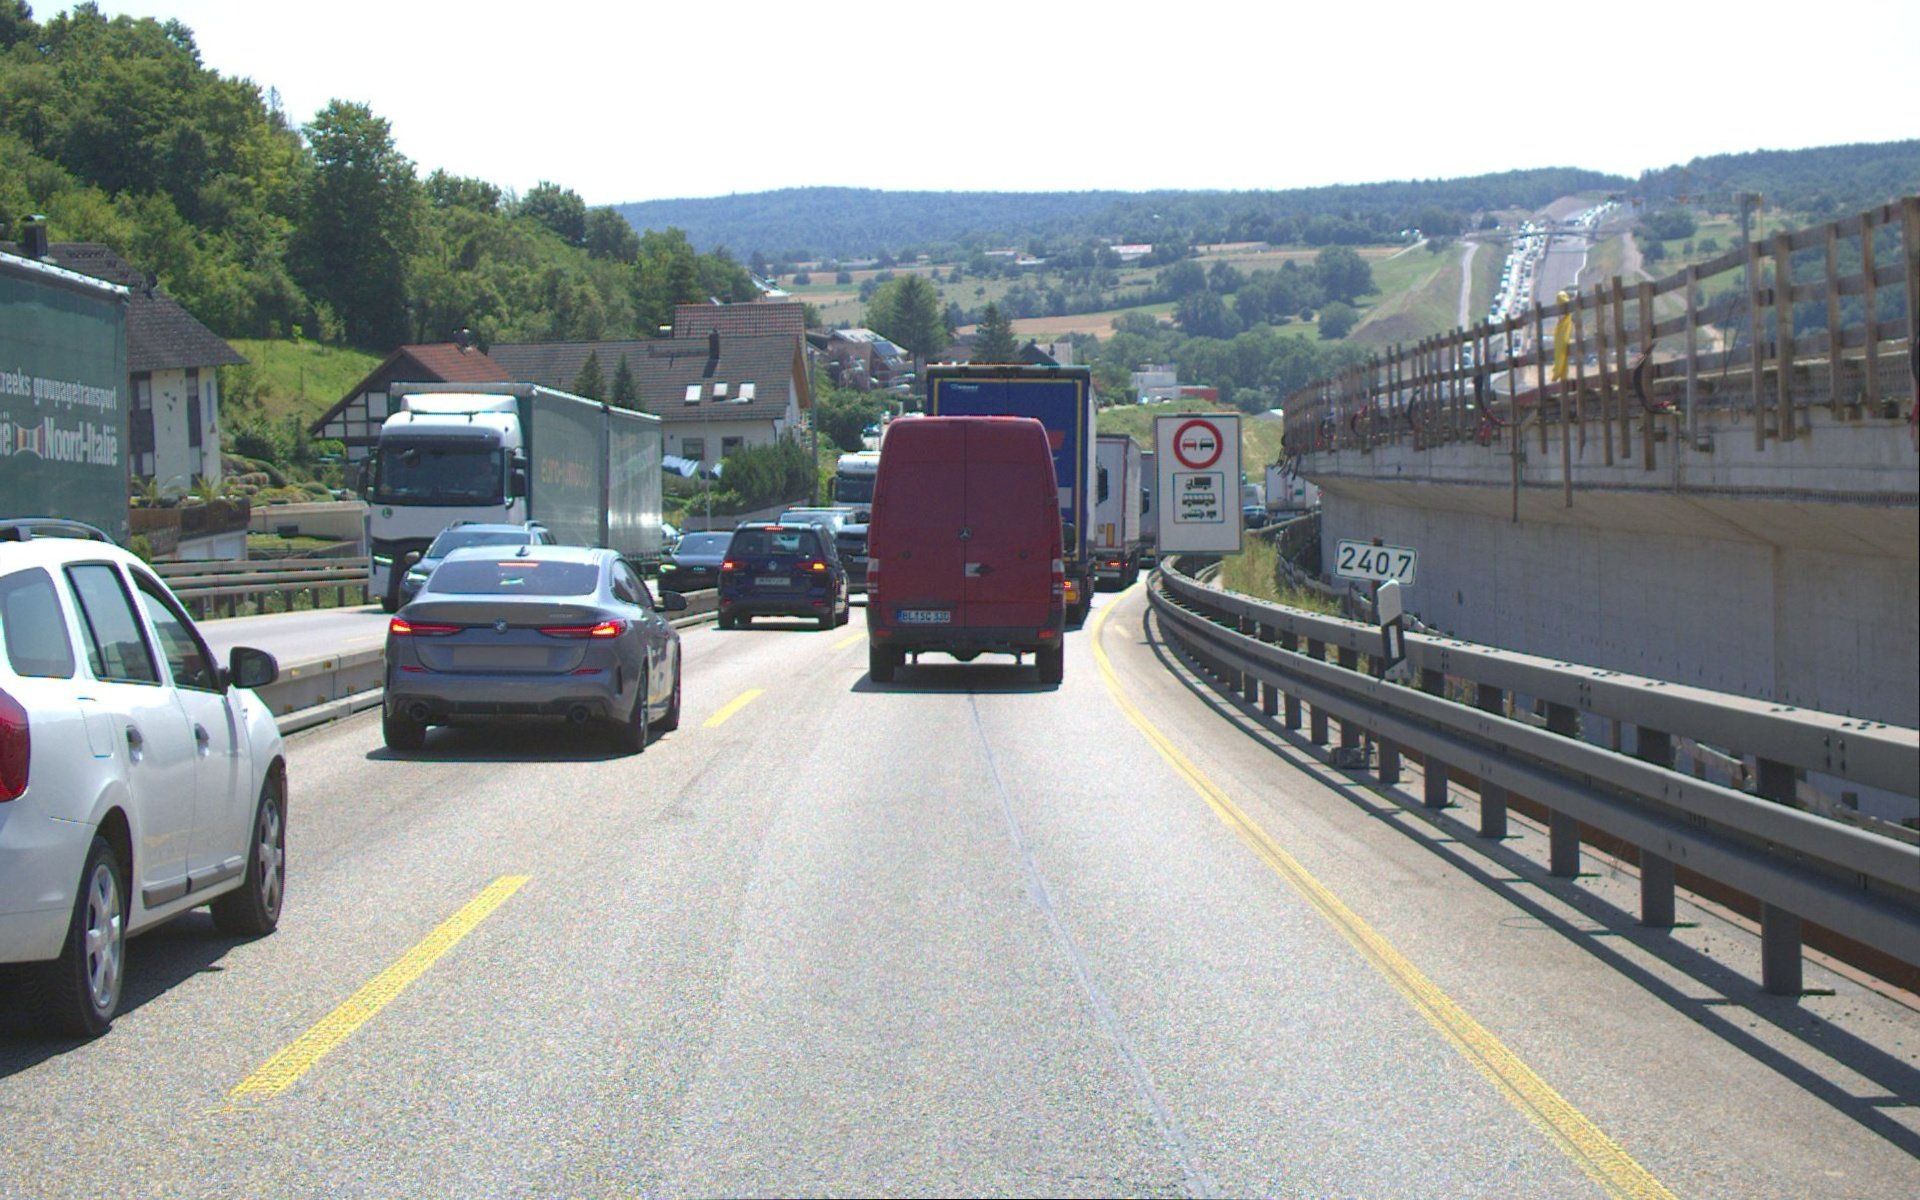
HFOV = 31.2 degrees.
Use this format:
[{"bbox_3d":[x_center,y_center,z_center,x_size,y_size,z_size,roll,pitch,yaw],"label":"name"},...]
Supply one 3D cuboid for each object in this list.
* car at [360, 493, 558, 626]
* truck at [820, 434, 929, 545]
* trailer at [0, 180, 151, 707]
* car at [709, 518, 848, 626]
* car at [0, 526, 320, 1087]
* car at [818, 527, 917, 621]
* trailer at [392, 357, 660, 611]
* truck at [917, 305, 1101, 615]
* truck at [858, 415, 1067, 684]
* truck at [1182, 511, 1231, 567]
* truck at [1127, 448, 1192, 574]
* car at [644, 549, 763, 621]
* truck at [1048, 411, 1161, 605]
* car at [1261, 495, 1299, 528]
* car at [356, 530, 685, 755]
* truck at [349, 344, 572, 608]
[{"bbox_3d":[-6.572,-0.547,45.481,1.957,1.675,4.114,0,1,1],"label":"car"},{"bbox_3d":[-3.260,-4.278,134.328,2.979,4.148,10.544,1,2,5],"label":"truck"},{"bbox_3d":[-10.308,-1.429,29.755,3.064,4.799,14.002,1,0,1],"label":"trailer"},{"bbox_3d":[-2.787,-0.424,53.436,1.810,1.602,3.719,1,0,2],"label":"car"},{"bbox_3d":[-3.321,0.551,11.210,1.651,1.478,4.267,-2,0,0],"label":"car"},{"bbox_3d":[-1.830,-0.519,69.081,1.729,1.832,4.000,1,0,2],"label":"car"},{"bbox_3d":[-8.579,-2.157,70.176,2.834,4.626,14.579,1,0,3],"label":"trailer"},{"bbox_3d":[0.960,-2.203,58.354,2.786,4.799,9.684,1,0,3],"label":"truck"},{"bbox_3d":[0.026,-0.495,35.144,1.993,2.570,4.000,0,0,0],"label":"truck"},{"bbox_3d":[7.061,-1.742,98.679,1.314,1.537,3.151,1,0,3],"label":"truck"},{"bbox_3d":[7.098,-3.124,121.868,1.994,4.366,3.999,1,0,7],"label":"truck"},{"bbox_3d":[-5.366,-0.309,72.447,1.902,1.457,4.757,1,0,3],"label":"car"},{"bbox_3d":[3.815,-2.316,90.259,2.786,4.799,9.684,1,0,3],"label":"truck"},{"bbox_3d":[20.797,-5.737,223.454,2.132,2.007,3.998,1,0,9],"label":"car"},{"bbox_3d":[-3.056,0.245,24.659,1.794,1.480,4.050,0,1,1],"label":"car"},{"bbox_3d":[-9.004,-2.173,62.589,2.847,4.564,5.787,1,0,4],"label":"truck"}]
